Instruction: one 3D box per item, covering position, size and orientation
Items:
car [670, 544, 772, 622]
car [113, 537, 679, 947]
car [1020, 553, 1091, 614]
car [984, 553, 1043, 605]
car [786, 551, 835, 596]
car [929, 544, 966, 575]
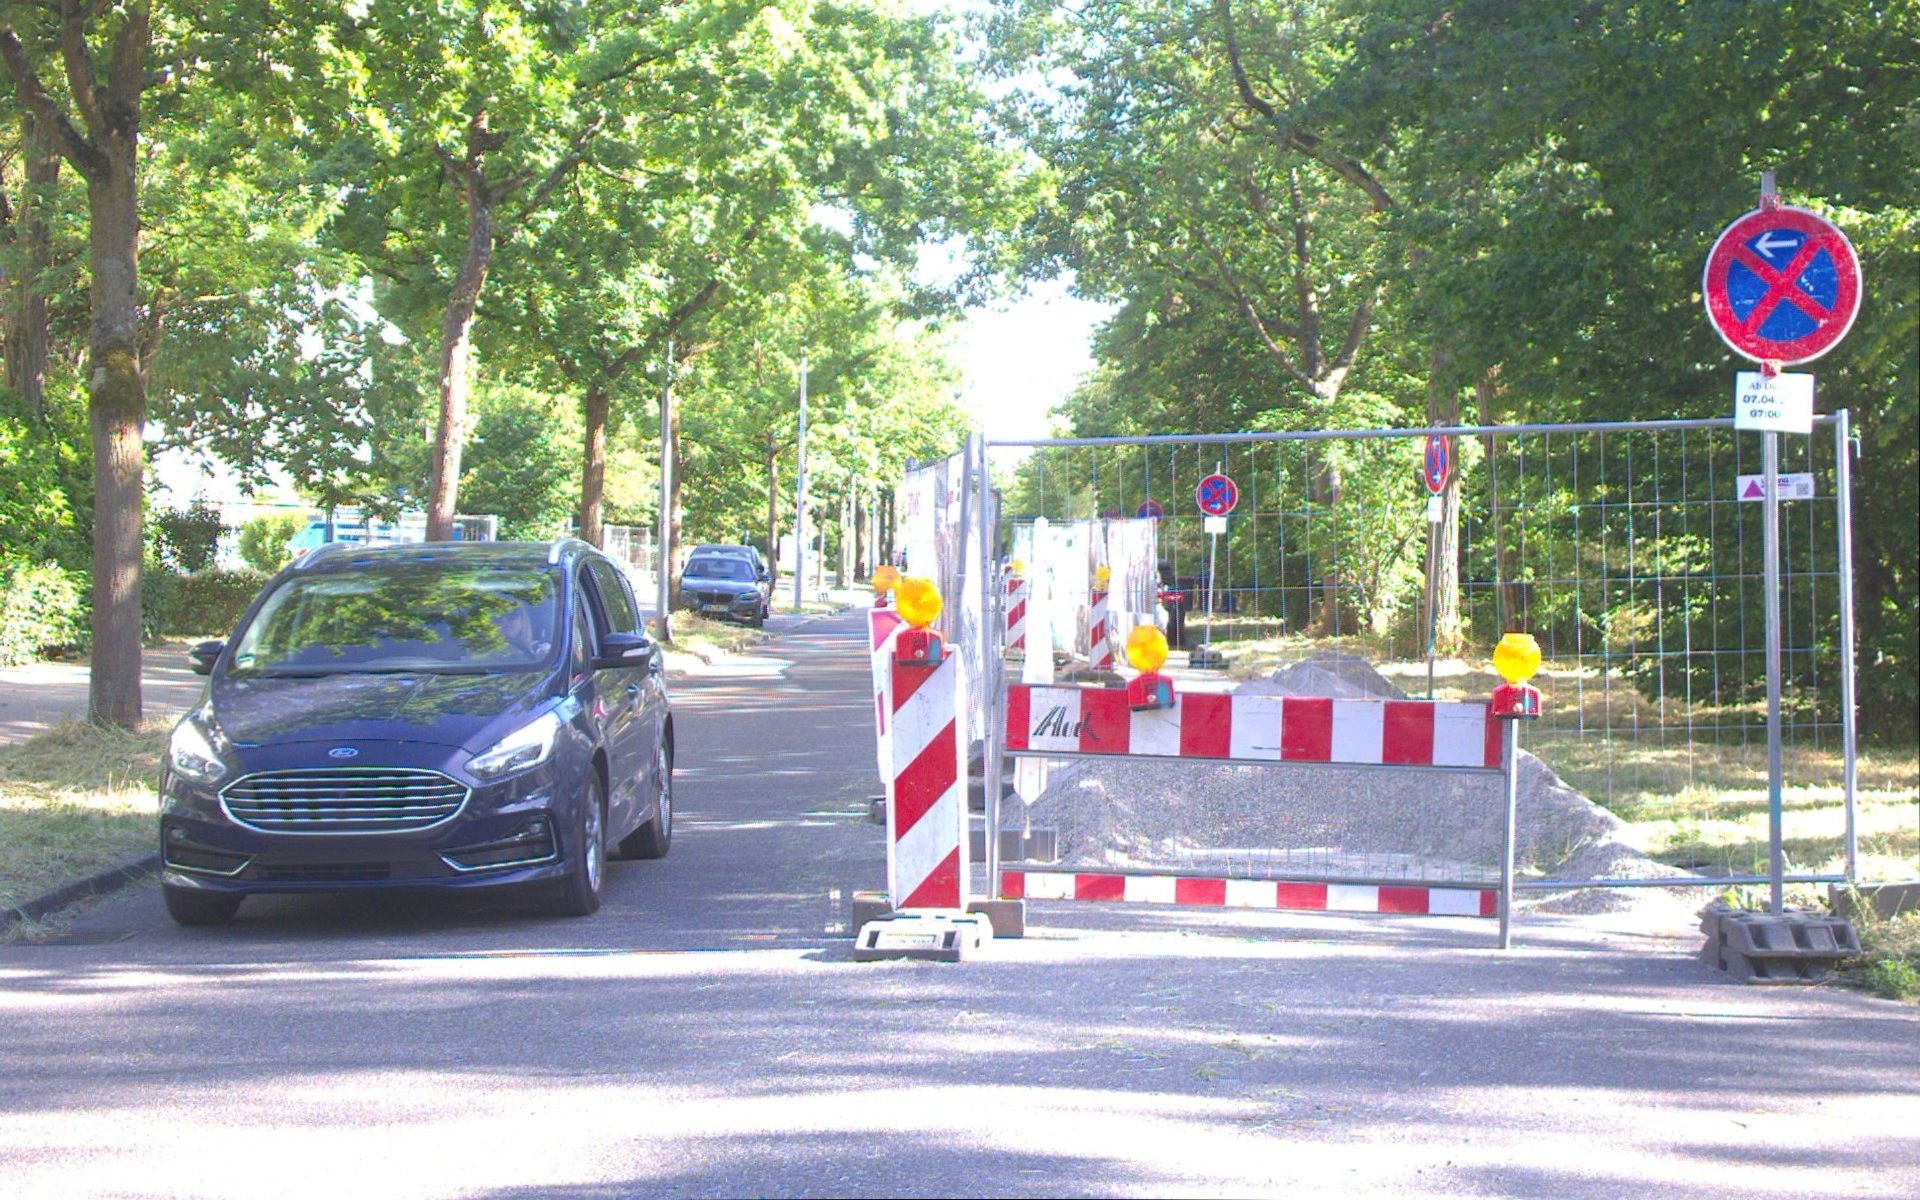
[{"bbox_3d":[-4.703,-0.353,68.098,1.751,1.473,3.836,1,1,-1],"label":"car"},{"bbox_3d":[-2.456,0.539,16.096,1.821,1.619,4.492,-1,1,1],"label":"car"},{"bbox_3d":[2.134,-0.372,77.618,1.361,1.298,3.481,2,0,-2],"label":"car"},{"bbox_3d":[1.393,-0.557,90.599,1.361,1.298,3.481,2,0,-2],"label":"car"},{"bbox_3d":[-4.470,-0.782,103.248,1.361,1.298,3.481,2,0,-2],"label":"car"},{"bbox_3d":[-0.684,-2.170,185.627,1.710,1.579,4.000,2,0,-3],"label":"car"}]
